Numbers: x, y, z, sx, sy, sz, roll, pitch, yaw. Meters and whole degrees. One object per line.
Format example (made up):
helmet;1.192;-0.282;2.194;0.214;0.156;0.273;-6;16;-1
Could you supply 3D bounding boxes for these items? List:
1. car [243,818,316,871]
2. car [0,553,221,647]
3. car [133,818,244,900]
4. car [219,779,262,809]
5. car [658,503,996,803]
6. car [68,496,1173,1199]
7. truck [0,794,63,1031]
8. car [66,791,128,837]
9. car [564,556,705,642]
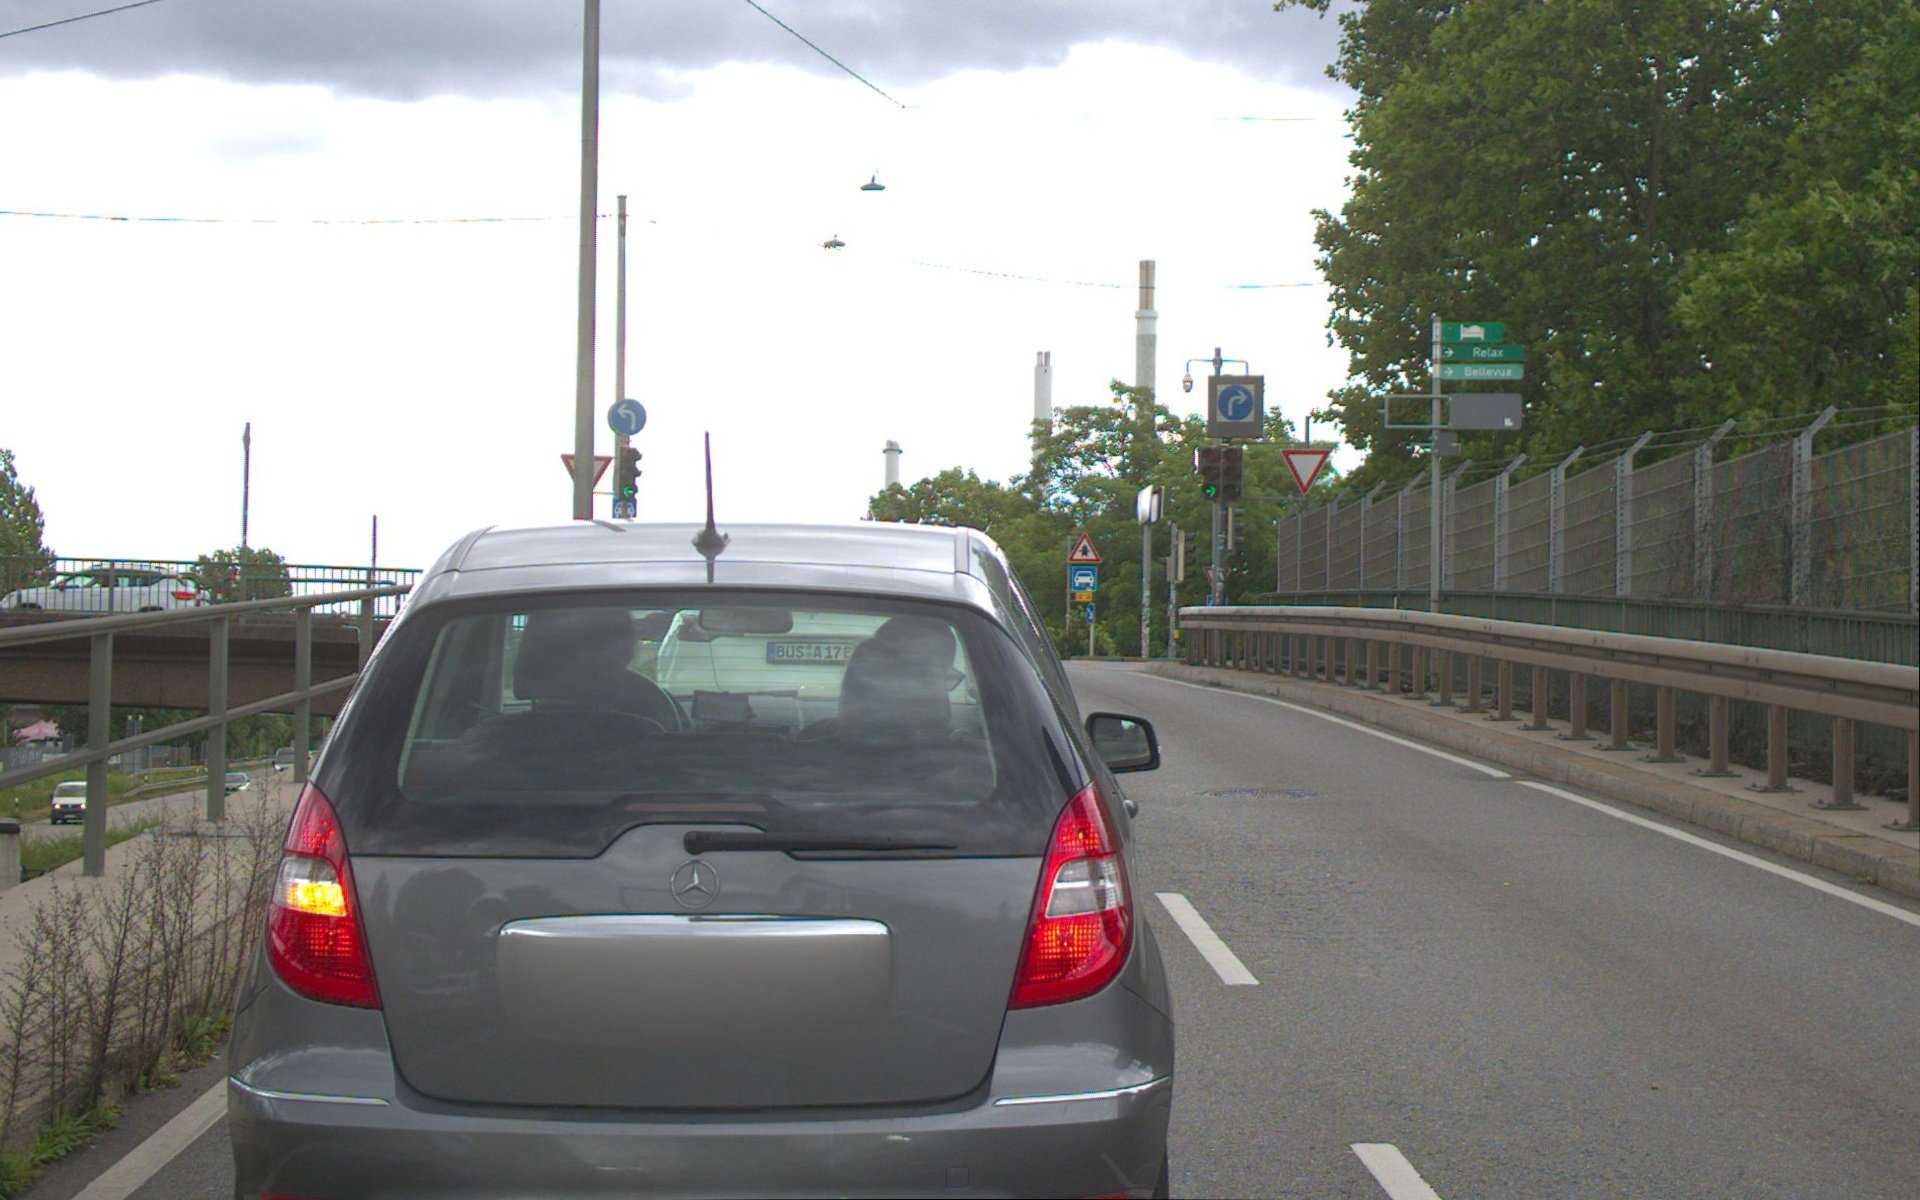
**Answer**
car;-22.942;8.220;116.006;1.898;1.616;4.179;1;-2;-4
car;-17.646;-0.019;71.041;4.201;1.864;1.999;1;0;7
car;-20.679;6.914;92.335;1.898;1.996;4.958;1;-2;-1
car;-44.074;11.858;210.631;1.915;1.733;4.553;0;-2;-4
car;-0.861;0.286;22.093;1.931;1.711;4.406;1;1;-2
car;-0.601;0.598;7.832;1.857;1.583;4.000;1;1;-1
truck;-14.939;4.436;48.393;2.746;3.282;7.441;0;-2;-1
car;-41.191;10.178;164.118;1.993;2.060;5.177;1;-2;-4
car;-6.228;-0.043;65.342;1.832;1.571;4.348;1;1;-17
